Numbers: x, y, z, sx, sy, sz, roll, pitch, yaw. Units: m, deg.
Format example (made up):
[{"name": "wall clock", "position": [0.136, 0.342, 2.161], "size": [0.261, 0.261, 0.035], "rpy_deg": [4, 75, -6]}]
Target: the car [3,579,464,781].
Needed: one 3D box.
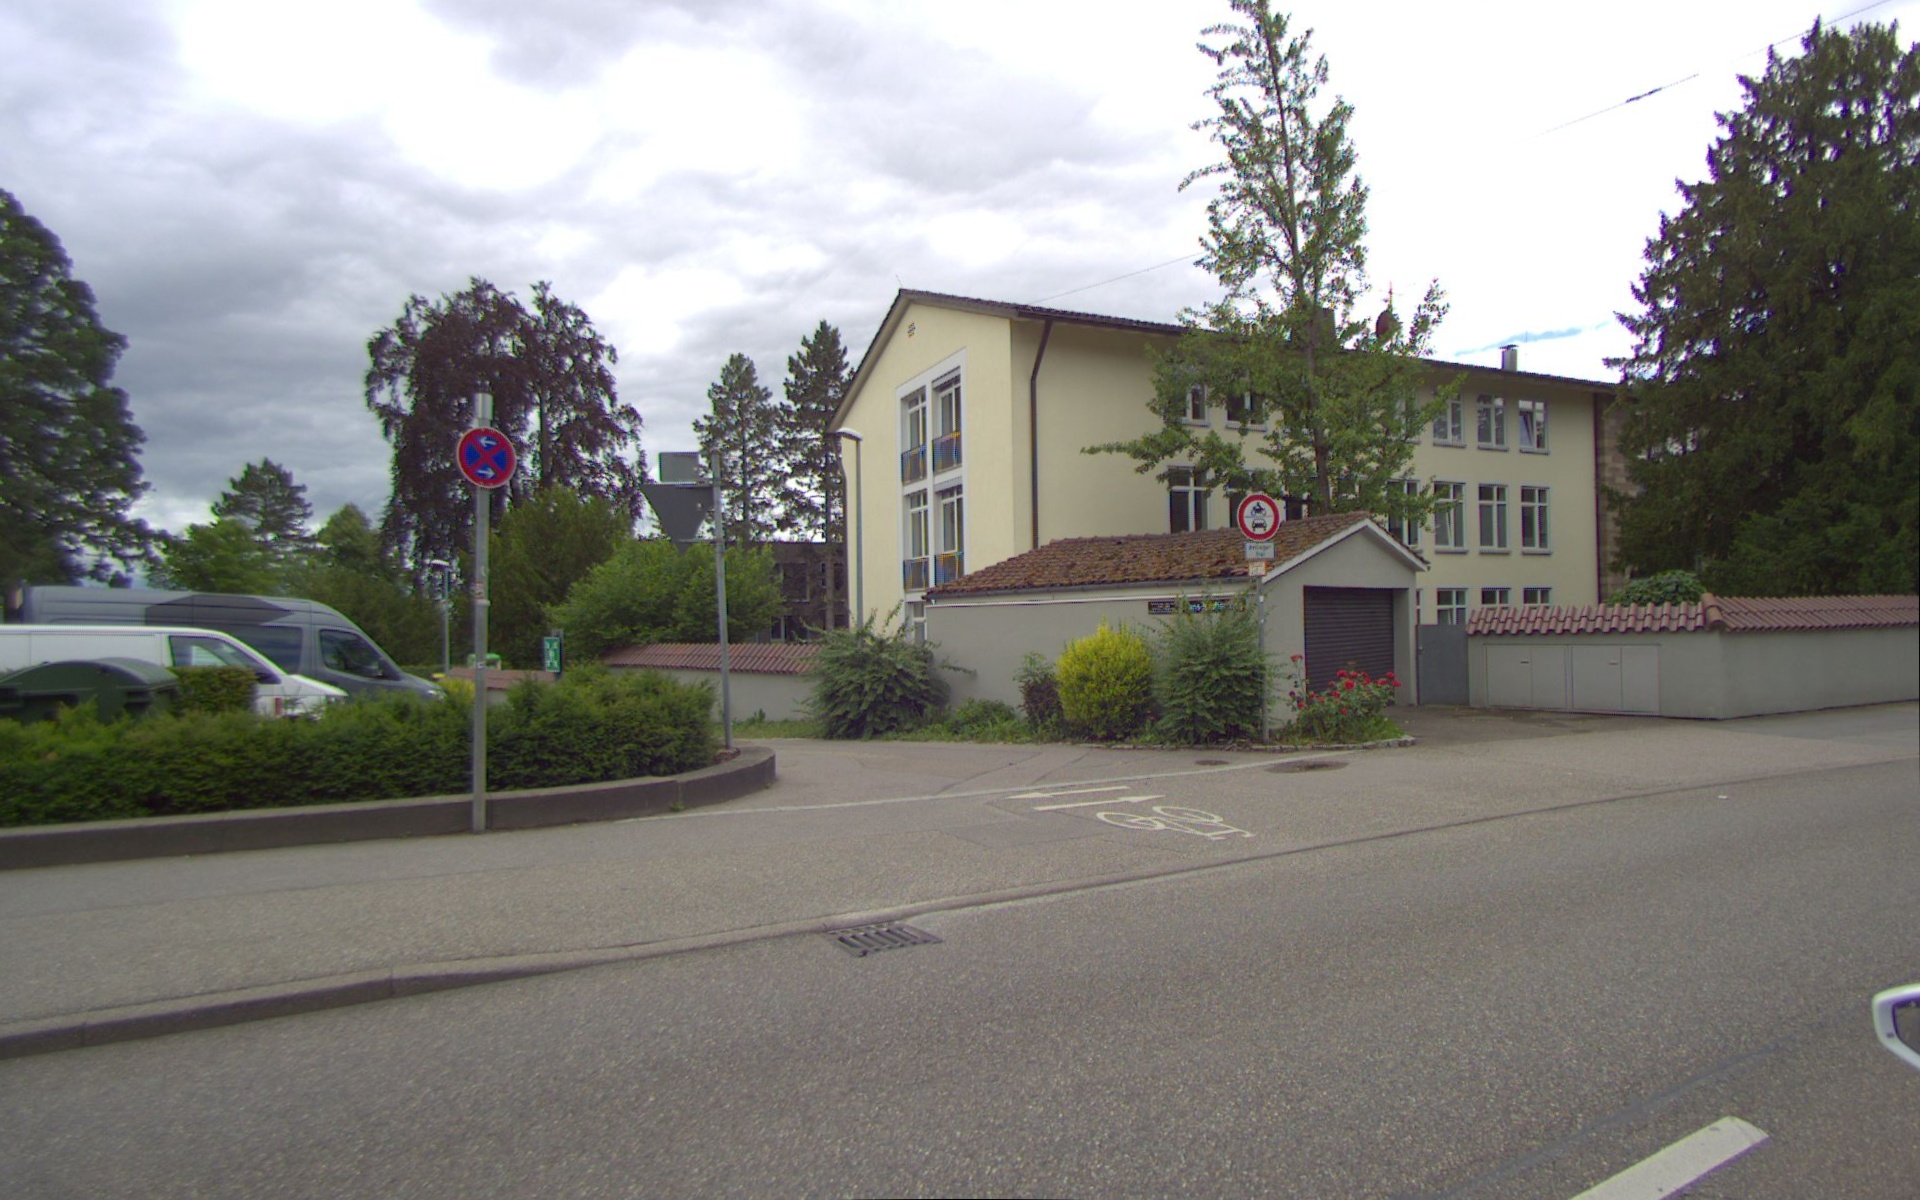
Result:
[{"name": "car", "position": [-11.204, 1.132, 15.924], "size": [1.973, 2.653, 5.685], "rpy_deg": [-2, -2, 45]}]

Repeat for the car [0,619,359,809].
[{"name": "car", "position": [-10.343, 1.301, 12.578], "size": [4.580, 2.097, 1.872], "rpy_deg": [1, -2, -41]}]
